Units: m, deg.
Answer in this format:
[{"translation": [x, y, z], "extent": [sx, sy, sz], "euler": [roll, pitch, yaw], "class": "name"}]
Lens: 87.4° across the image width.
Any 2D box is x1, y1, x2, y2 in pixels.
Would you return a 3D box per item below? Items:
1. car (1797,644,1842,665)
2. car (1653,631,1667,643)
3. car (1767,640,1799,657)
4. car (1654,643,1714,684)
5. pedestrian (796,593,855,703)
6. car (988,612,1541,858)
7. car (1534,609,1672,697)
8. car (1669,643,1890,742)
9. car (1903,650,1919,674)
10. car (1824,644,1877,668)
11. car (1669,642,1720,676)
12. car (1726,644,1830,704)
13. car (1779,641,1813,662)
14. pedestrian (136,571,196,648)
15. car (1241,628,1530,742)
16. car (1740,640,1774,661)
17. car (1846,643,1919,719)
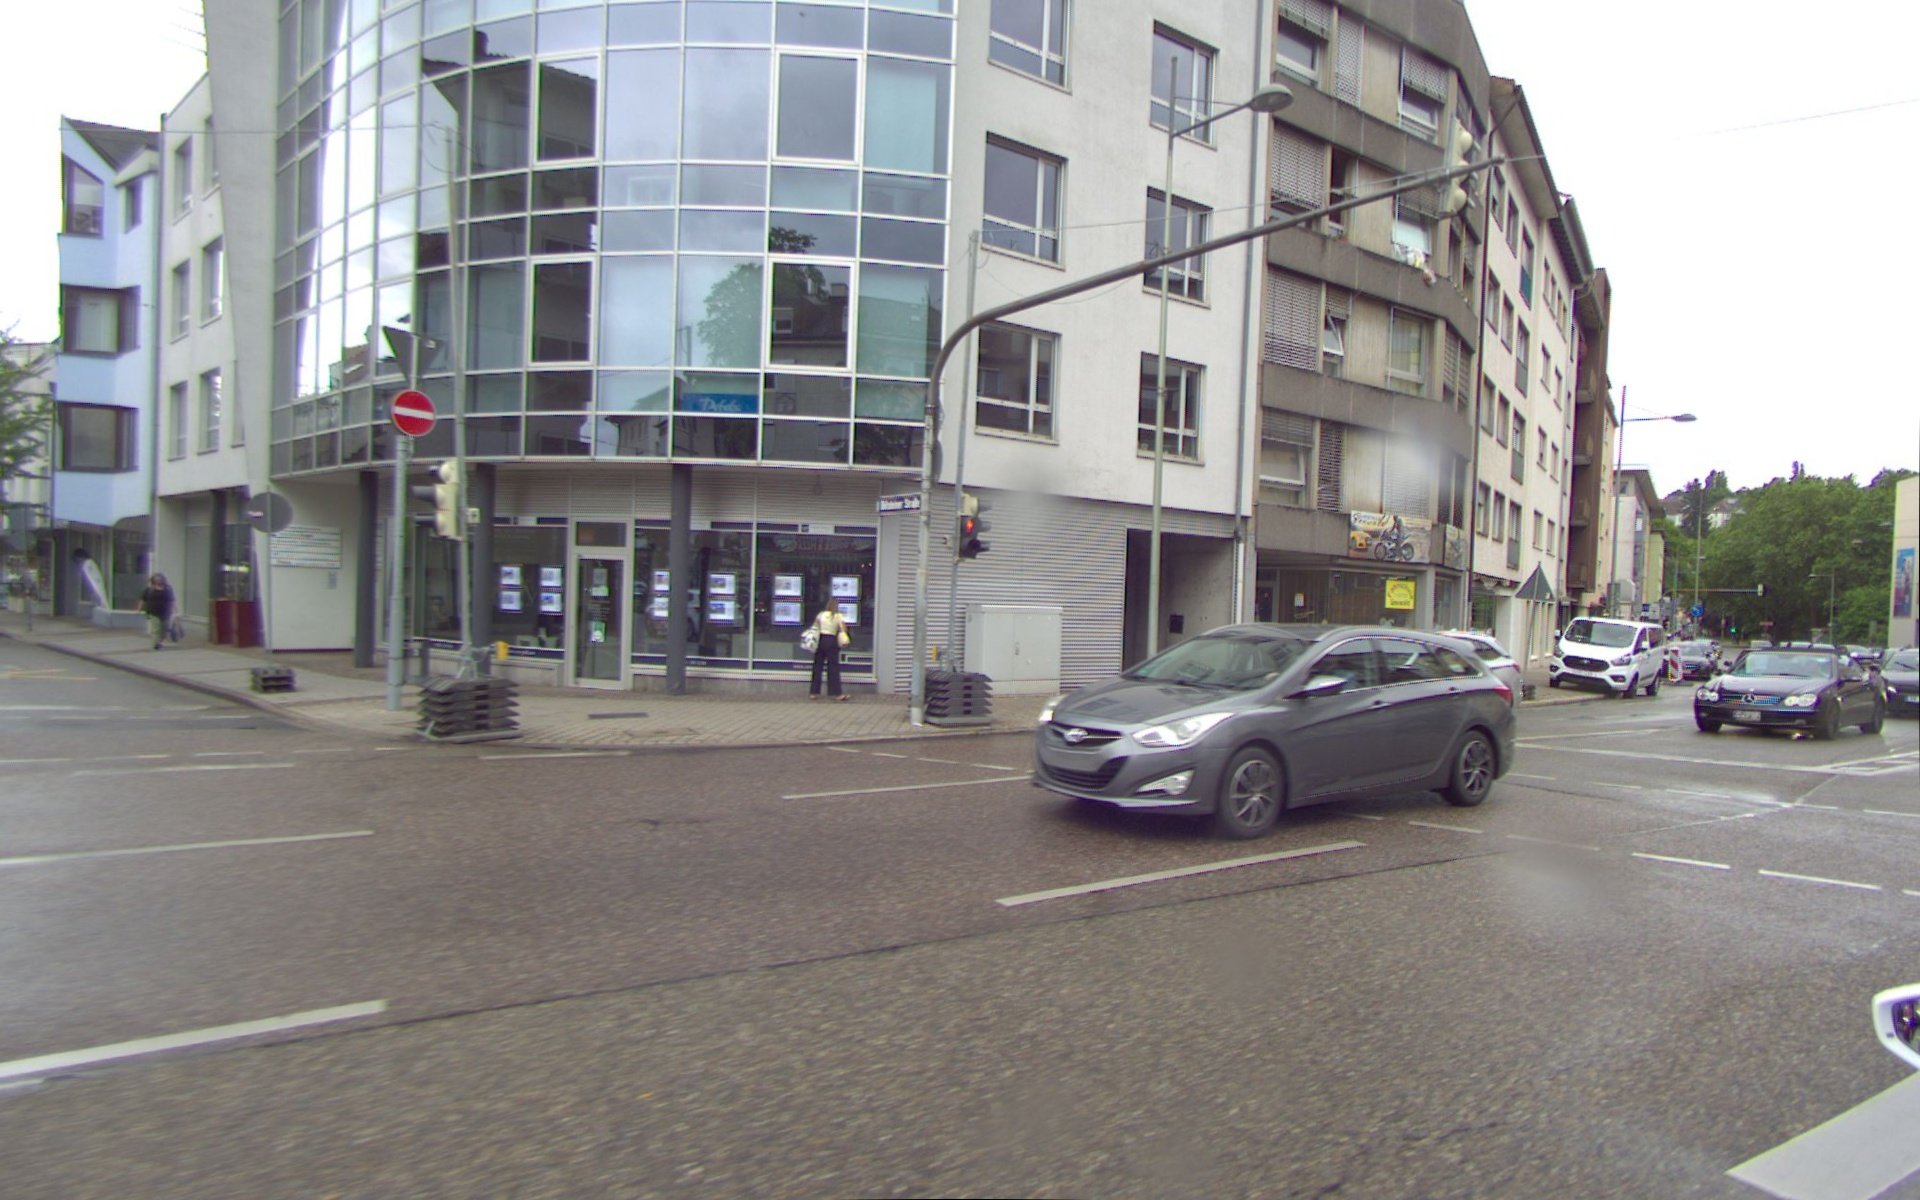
[{"translation": [68.049, 4.308, 79.603], "extent": [1.906, 1.547, 4.128], "euler": [2, -1, 30], "class": "car"}, {"translation": [124.778, 6.635, 179.053], "extent": [1.967, 1.884, 3.987], "euler": [5, 2, 35], "class": "car"}, {"translation": [76.234, 4.496, 93.073], "extent": [1.795, 1.452, 4.388], "euler": [2, -1, 33], "class": "car"}, {"translation": [29.308, 2.513, 40.772], "extent": [1.857, 1.496, 4.964], "euler": [1, -2, 34], "class": "car"}, {"translation": [-2.037, 0.719, 15.289], "extent": [0.817, 1.629, 0.625], "euler": [1, 0, -6], "class": "pedestrian"}, {"translation": [2.639, 0.922, 8.240], "extent": [4.600, 1.493, 1.842], "euler": [2, -1, -34], "class": "car"}, {"translation": [17.881, 1.484, 27.810], "extent": [2.097, 2.041, 5.098], "euler": [6, 1, 45], "class": "car"}, {"translation": [13.730, 1.476, 16.739], "extent": [4.561, 1.384, 1.811], "euler": [3, -2, -37], "class": "car"}, {"translation": [66.060, 4.283, 68.515], "extent": [1.968, 1.550, 3.985], "euler": [5, 2, 37], "class": "car"}, {"translation": [65.997, 4.115, 74.533], "extent": [1.827, 1.573, 4.222], "euler": [2, -1, 26], "class": "car"}, {"translation": [37.802, 3.014, 51.656], "extent": [1.884, 1.574, 4.611], "euler": [1, -2, 39], "class": "car"}, {"translation": [21.549, 1.898, 26.436], "extent": [3.570, 1.418, 1.705], "euler": [3, -2, -44], "class": "car"}, {"translation": [71.017, 4.358, 85.380], "extent": [1.796, 1.629, 4.418], "euler": [2, -1, 34], "class": "car"}, {"translation": [-17.846, 0.205, 22.583], "extent": [0.555, 1.675, 0.892], "euler": [1, 3, 39], "class": "pedestrian"}, {"translation": [6.531, 1.214, 15.241], "extent": [4.557, 1.493, 1.917], "euler": [2, -3, -35], "class": "car"}, {"translation": [67.410, 4.225, 84.983], "extent": [1.836, 1.669, 4.243], "euler": [1, -2, 33], "class": "car"}, {"translation": [20.635, 1.698, 21.476], "extent": [4.451, 1.478, 1.966], "euler": [3, -2, -41], "class": "car"}]
